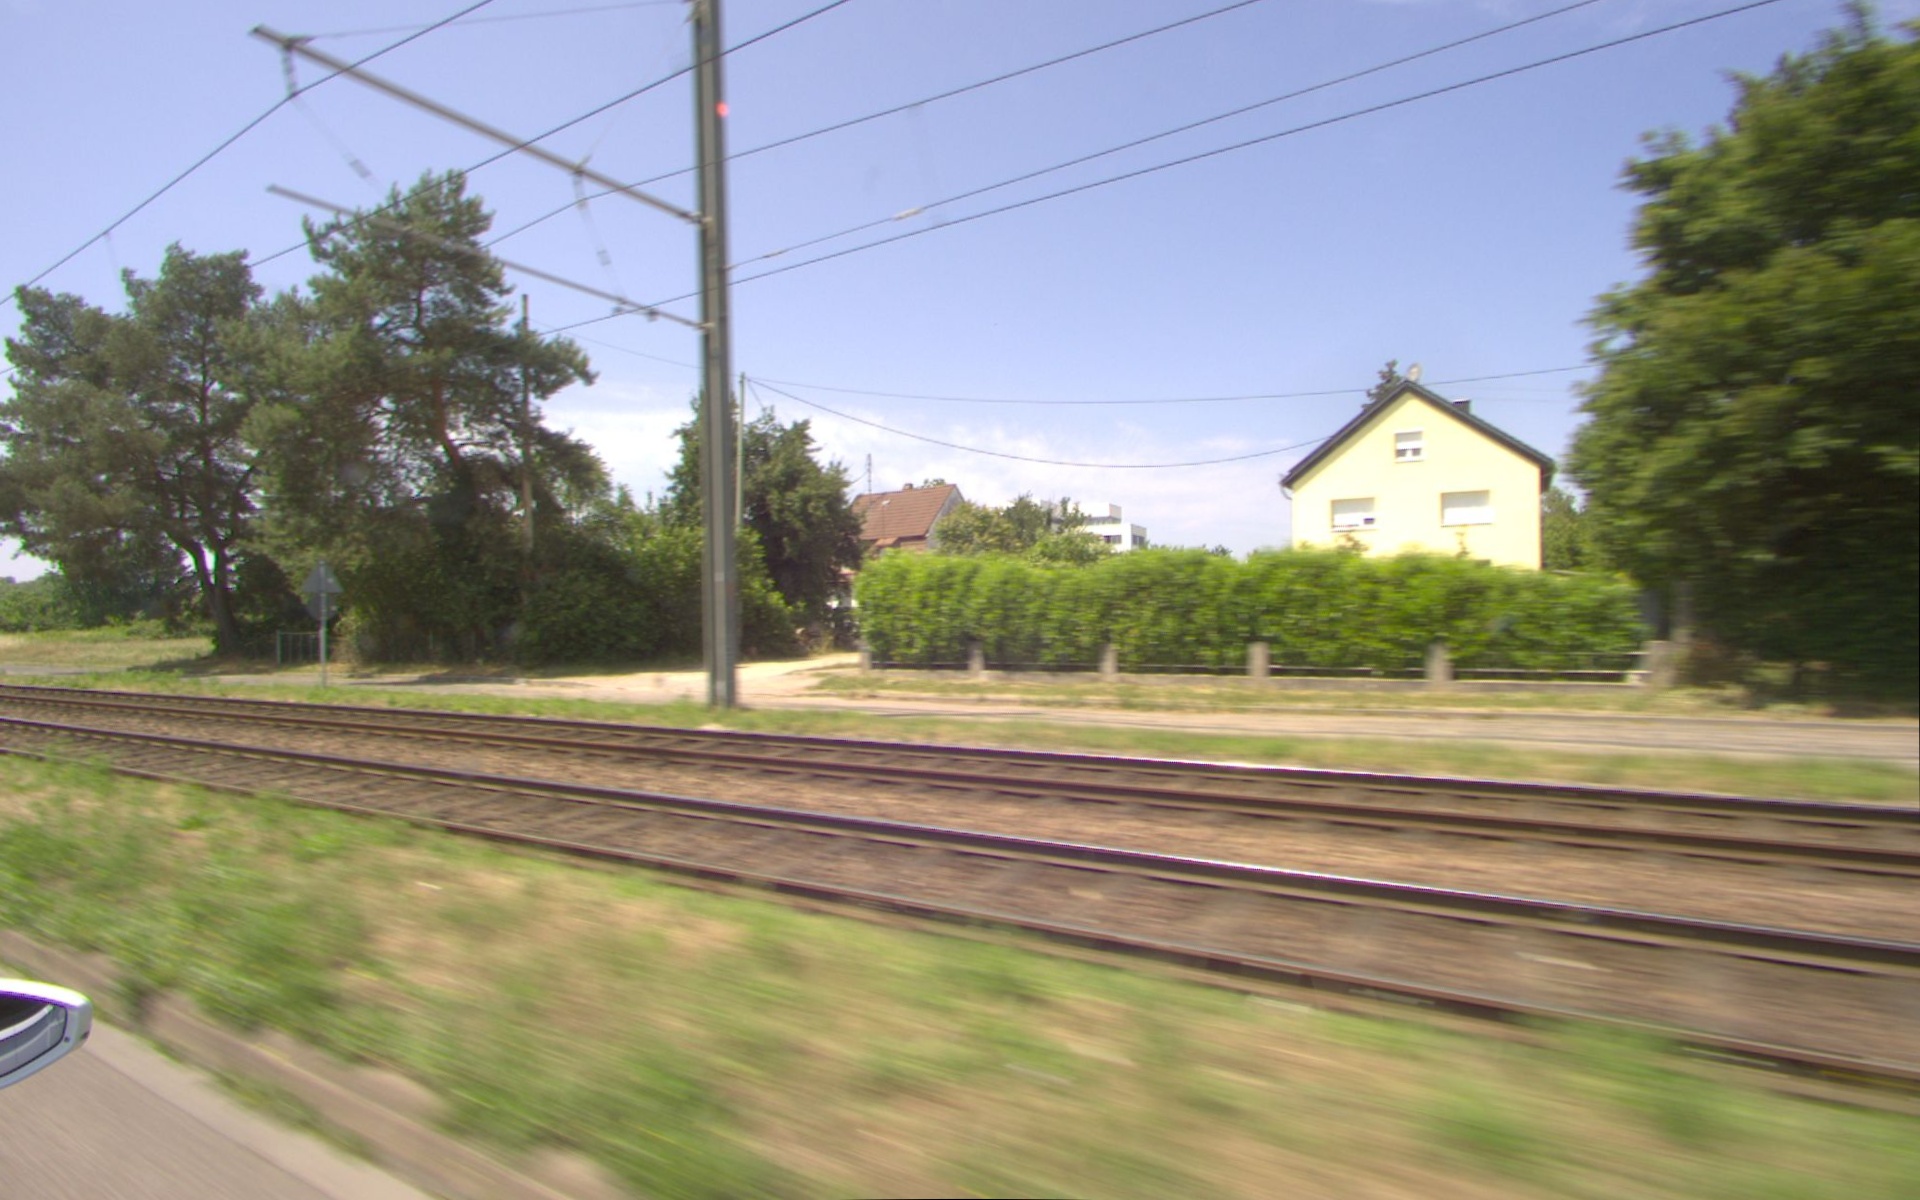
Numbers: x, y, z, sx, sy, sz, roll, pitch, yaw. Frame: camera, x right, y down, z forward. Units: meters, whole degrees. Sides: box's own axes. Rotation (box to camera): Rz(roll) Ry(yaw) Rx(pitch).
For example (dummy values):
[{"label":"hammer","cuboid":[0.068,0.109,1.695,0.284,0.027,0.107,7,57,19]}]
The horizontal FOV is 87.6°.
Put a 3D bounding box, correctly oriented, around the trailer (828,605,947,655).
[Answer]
[{"label":"trailer","cuboid":[-2.857,1.196,40.692,2.133,1.830,5.108,-2,-1,33]}]
